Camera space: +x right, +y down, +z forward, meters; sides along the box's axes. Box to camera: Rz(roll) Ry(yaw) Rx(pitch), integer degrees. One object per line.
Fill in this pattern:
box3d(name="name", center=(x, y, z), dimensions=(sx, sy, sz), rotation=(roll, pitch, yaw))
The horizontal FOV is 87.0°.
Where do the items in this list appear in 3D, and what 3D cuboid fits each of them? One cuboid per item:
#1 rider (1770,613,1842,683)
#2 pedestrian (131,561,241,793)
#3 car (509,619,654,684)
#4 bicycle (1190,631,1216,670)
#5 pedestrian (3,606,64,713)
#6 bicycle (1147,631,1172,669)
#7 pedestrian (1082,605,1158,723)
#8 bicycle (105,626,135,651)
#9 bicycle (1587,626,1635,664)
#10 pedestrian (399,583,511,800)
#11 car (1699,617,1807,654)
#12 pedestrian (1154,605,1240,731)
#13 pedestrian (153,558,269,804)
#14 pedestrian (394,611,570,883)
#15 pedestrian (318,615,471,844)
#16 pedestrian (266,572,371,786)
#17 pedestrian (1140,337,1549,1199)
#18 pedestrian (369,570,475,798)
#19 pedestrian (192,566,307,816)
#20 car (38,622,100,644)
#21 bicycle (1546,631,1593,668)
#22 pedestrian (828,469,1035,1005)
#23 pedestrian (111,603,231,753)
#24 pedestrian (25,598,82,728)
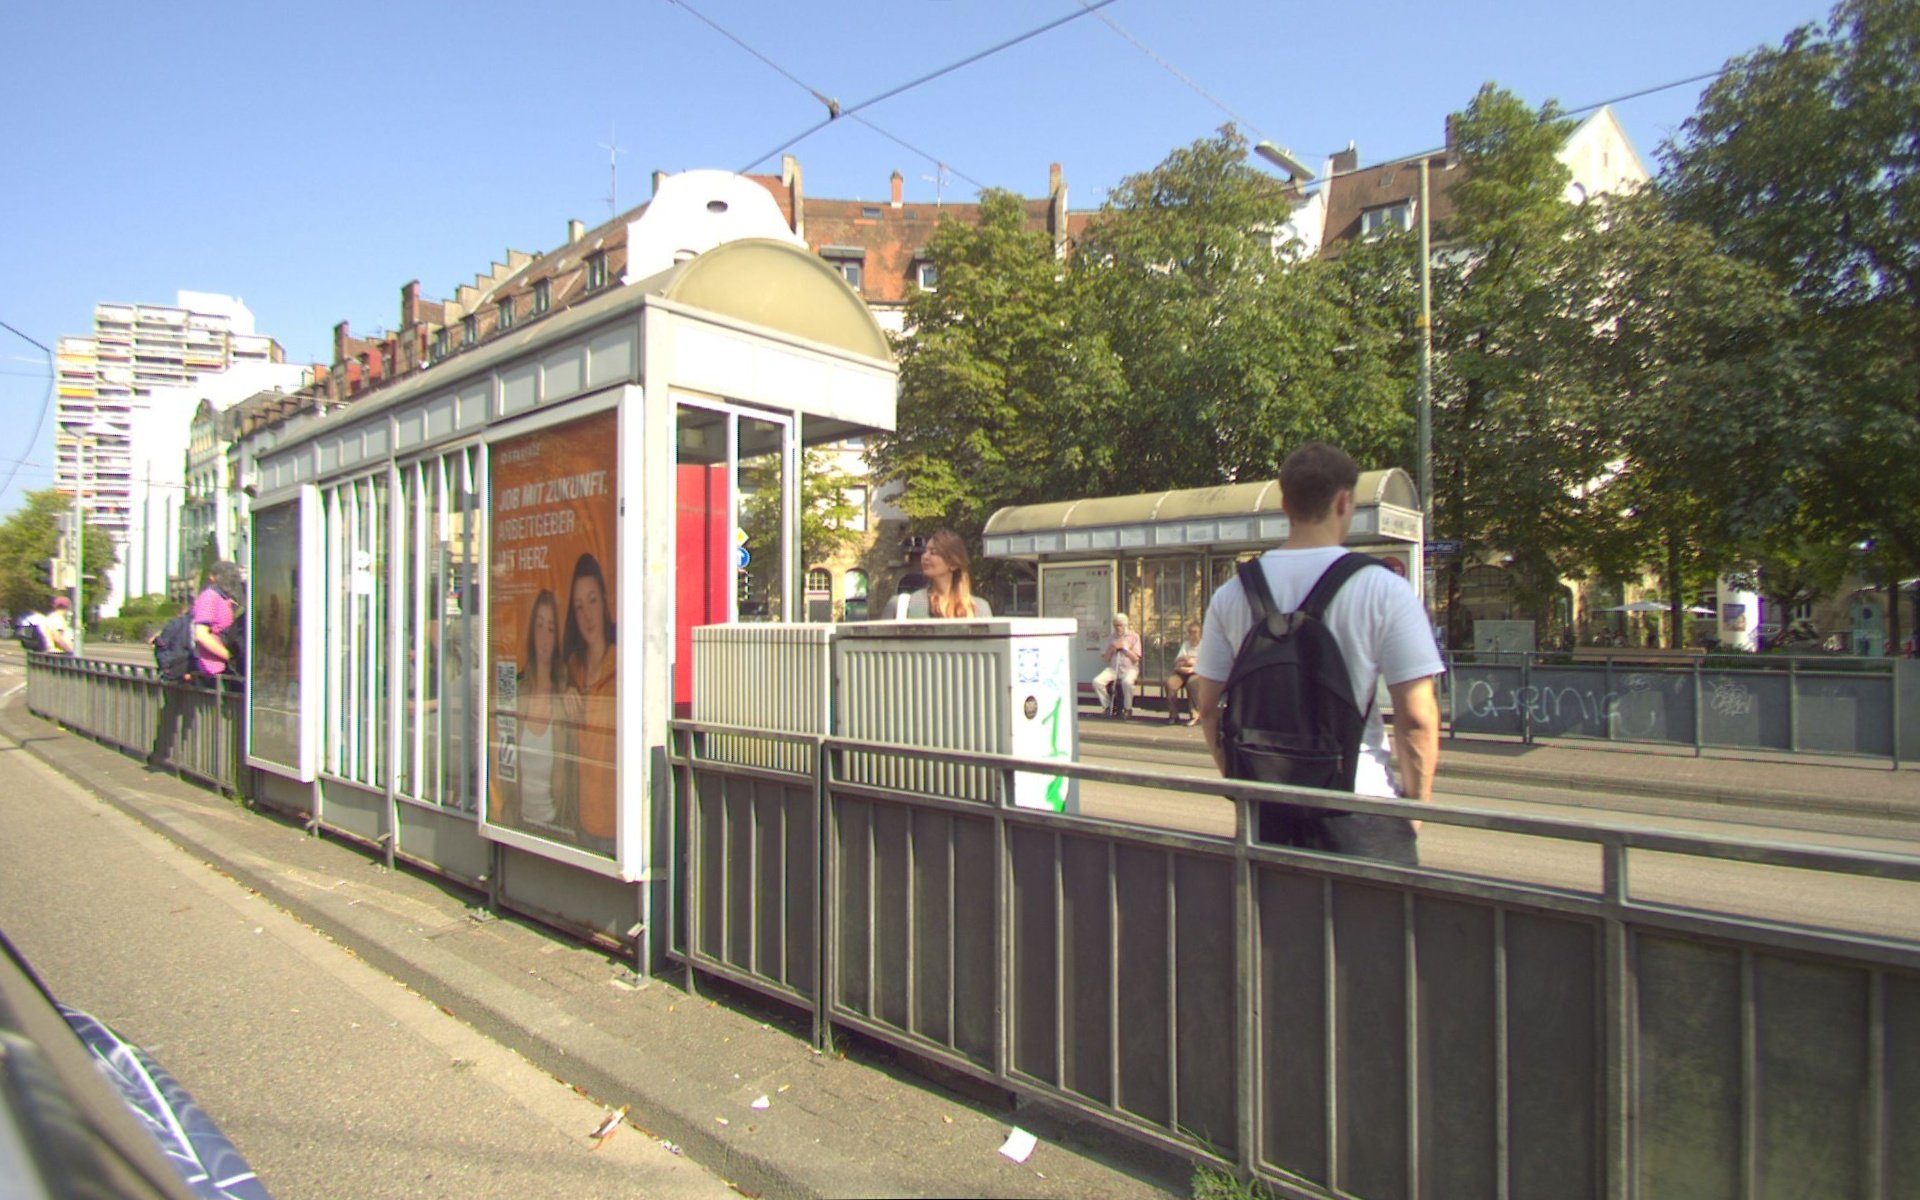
box3d(name="rider", center=(18.976, 1.055, 22.702), dimensions=(0.983, 1.523, 1.115), rotation=(0, -1, -45))
box3d(name="pedestrian", center=(-6.565, 0.628, 8.591), dimensions=(0.634, 1.862, 0.629), rotation=(-2, -3, 44))
box3d(name="car", center=(-10.513, 1.377, 27.949), dimensions=(4.482, 1.663, 1.971), rotation=(-2, -2, 43))
box3d(name="bicycle", center=(9.000, 1.860, 37.485), dimensions=(0.859, 1.381, 2.294), rotation=(-1, -2, 12))
box3d(name="pedestrian", center=(-16.052, 1.027, 17.530), dimensions=(0.738, 1.783, 0.720), rotation=(-6, -3, 45))
box3d(name="bicycle", center=(7.532, 1.855, 38.136), dimensions=(0.859, 1.381, 2.294), rotation=(-1, -2, 12))
box3d(name="pedestrian", center=(2.065, 0.813, 13.064), dimensions=(0.718, 1.467, 0.669), rotation=(-2, -2, 42))
box3d(name="bicycle", center=(-67.598, 3.082, 81.428), dimensions=(3.548, 1.872, 1.003), rotation=(-1, 0, 36))
box3d(name="bicycle", center=(19.917, 1.346, 30.942), dimensions=(2.060, 1.112, 0.657), rotation=(1, -2, -41))
box3d(name="pedestrian", center=(-3.850, 0.670, 7.719), dimensions=(0.607, 1.556, 0.582), rotation=(-2, -3, 44))
box3d(name="car", center=(41.974, 1.866, 53.635), dimensions=(1.965, 1.863, 4.013), rotation=(1, -2, -27))
box3d(name="pedestrian", center=(2.894, 0.807, 12.370), dimensions=(0.718, 1.467, 0.784), rotation=(-2, -2, 42))
box3d(name="pedestrian", center=(-6.007, 0.621, 8.120), dimensions=(0.634, 1.862, 0.629), rotation=(-2, -3, 44))
box3d(name="pedestrian", center=(-2.668, 0.764, 5.666), dimensions=(0.622, 1.389, 0.700), rotation=(-2, -2, 41))
box3d(name="pedestrian", center=(-3.598, 0.778, 6.448), dimensions=(0.622, 1.350, 0.679), rotation=(-2, -2, 41))
box3d(name="pedestrian", center=(-5.590, 0.664, 8.821), dimensions=(0.634, 1.761, 0.629), rotation=(-2, -3, 44))
box3d(name="pedestrian", center=(0.909, 0.411, 2.409), dimensions=(0.729, 1.820, 0.597), rotation=(-2, -2, 40))
box3d(name="pedestrian", center=(-4.322, 0.649, 8.135), dimensions=(0.607, 1.734, 0.582), rotation=(-2, -3, 44))
box3d(name="pedestrian", center=(-5.363, 0.656, 7.644), dimensions=(0.607, 1.777, 0.582), rotation=(-2, -3, 44))
box3d(name="car", center=(-84.628, 3.162, 96.199), dimensions=(1.981, 2.029, 3.980), rotation=(-1, -2, 15))
box3d(name="bicycle", center=(19.173, 1.530, 31.822), dimensions=(2.060, 1.112, 0.657), rotation=(1, -2, -41))
box3d(name="pedestrian", center=(-0.104, 0.459, 3.748), dimensions=(0.533, 1.774, 0.546), rotation=(-2, -2, 40))
box3d(name="pedestrian", center=(-9.192, 0.883, 11.811), dimensions=(0.863, 1.667, 0.807), rotation=(-1, -2, 28))
box3d(name="pedestrian", center=(-13.083, 0.897, 14.604), dimensions=(0.676, 1.816, 0.552), rotation=(-2, -3, 45))
